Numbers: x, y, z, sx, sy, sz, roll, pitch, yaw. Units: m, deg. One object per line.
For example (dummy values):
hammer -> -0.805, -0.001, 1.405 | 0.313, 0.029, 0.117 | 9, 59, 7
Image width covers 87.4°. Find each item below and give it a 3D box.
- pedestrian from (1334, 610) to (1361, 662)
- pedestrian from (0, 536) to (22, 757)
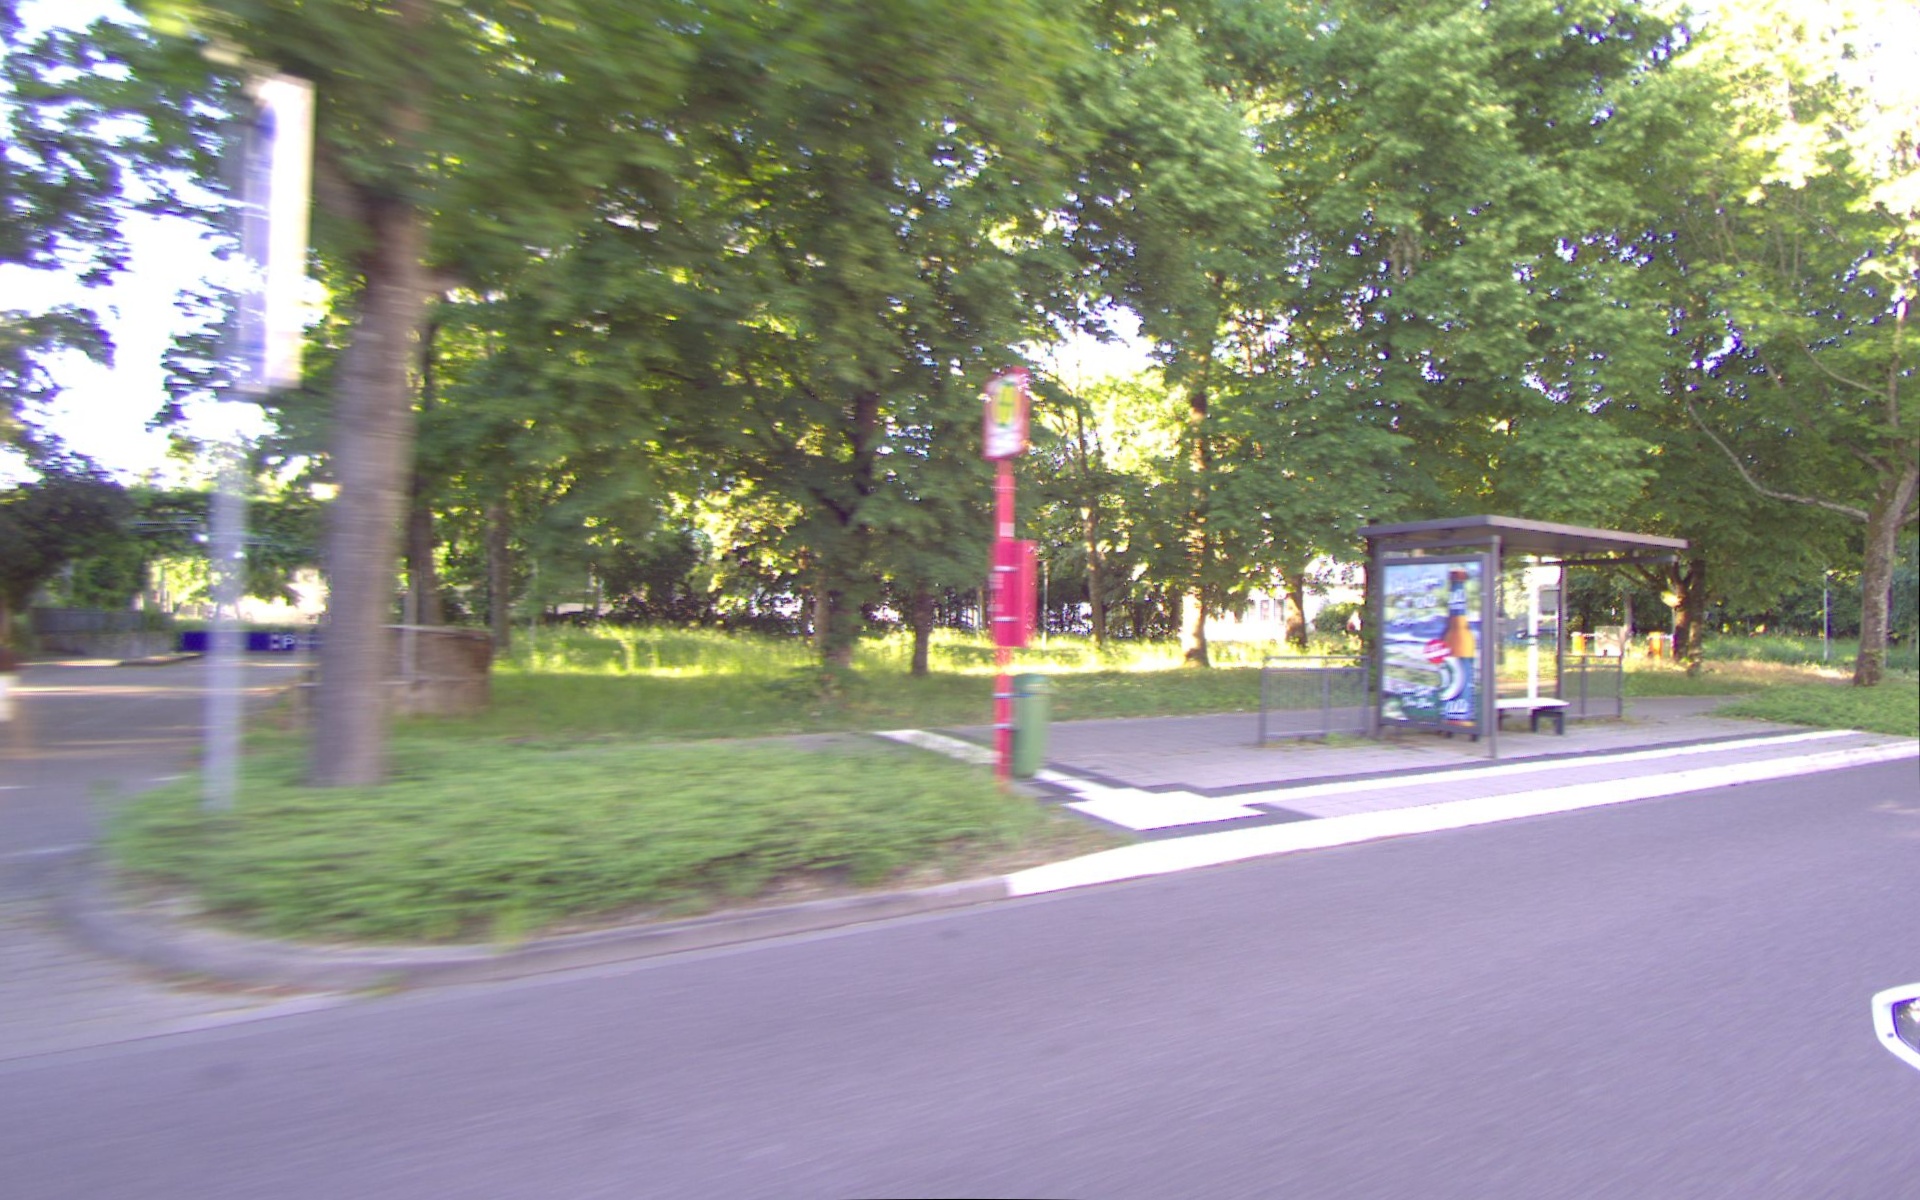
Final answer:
pedestrian -> 15.496, 1.425, 40.142 | 0.584, 2.040, 0.751 | 2, 0, -34
pedestrian -> -8.385, 0.381, 8.322 | 0.713, 1.845, 0.897 | 2, 0, -33
